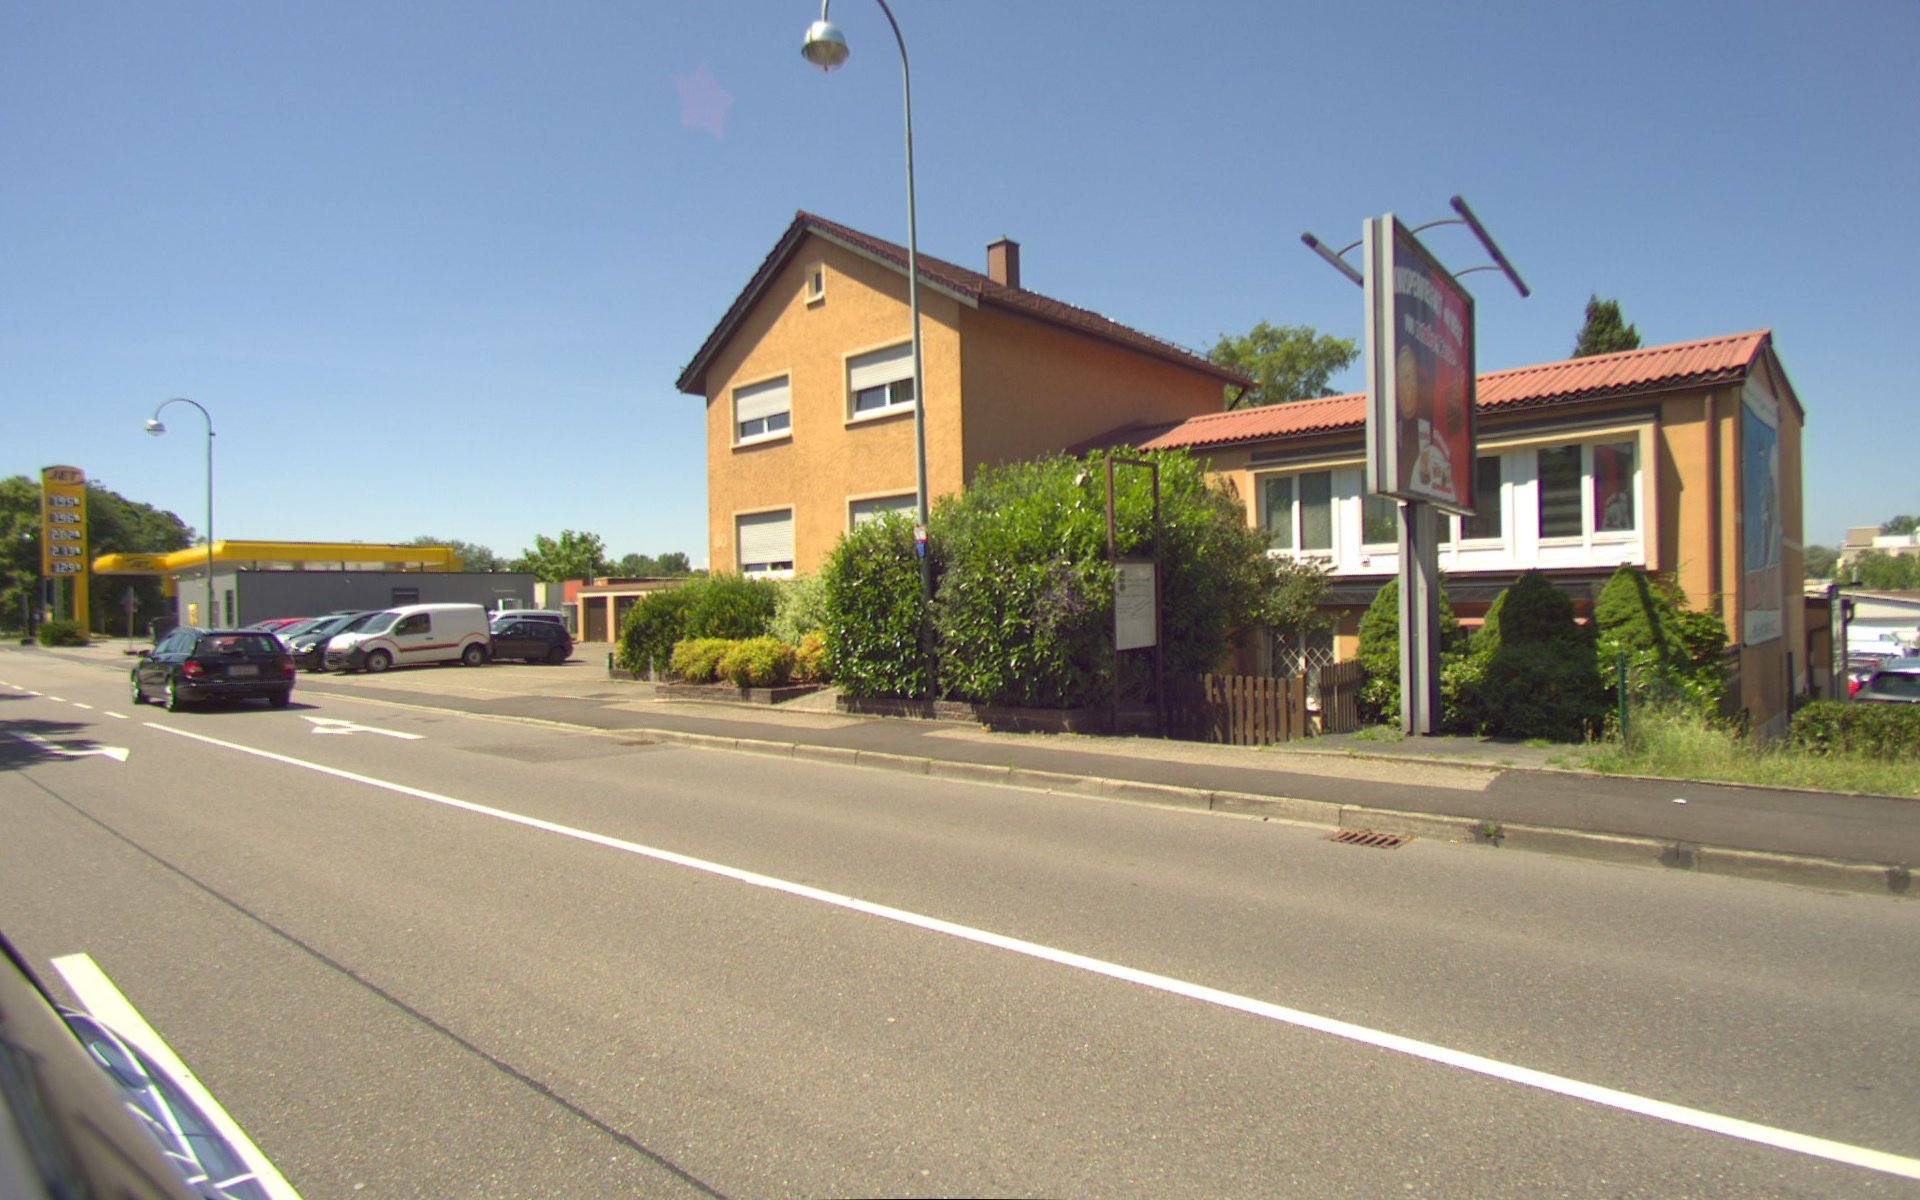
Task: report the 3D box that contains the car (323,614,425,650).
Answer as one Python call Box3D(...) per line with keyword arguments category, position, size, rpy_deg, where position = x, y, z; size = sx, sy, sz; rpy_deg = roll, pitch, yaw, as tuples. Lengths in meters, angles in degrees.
Box3D(category="car", position=(-28.290, 1.531, 48.940), size=(1.755, 1.596, 3.942), rpy_deg=(-1, 0, 44))

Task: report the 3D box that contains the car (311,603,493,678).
Box3D(category="car", position=(-15.615, 1.059, 28.499), size=(1.996, 1.912, 4.057), rpy_deg=(-1, 0, 36))

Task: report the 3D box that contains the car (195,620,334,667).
Box3D(category="car", position=(-24.334, 1.473, 35.498), size=(1.890, 1.468, 3.628), rpy_deg=(-1, 0, 39))

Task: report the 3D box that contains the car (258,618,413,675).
Box3D(category="car", position=(-19.125, 1.372, 31.088), size=(1.920, 1.543, 3.628), rpy_deg=(-1, 0, 39))

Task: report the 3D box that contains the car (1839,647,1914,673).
Box3D(category="car", position=(51.198, 3.344, 56.599), size=(3.043, 1.309, 1.288), rpy_deg=(-1, 0, 41))

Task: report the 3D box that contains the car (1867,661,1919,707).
Box3D(category="car", position=(40.517, 3.538, 42.294), size=(3.816, 1.740, 1.728), rpy_deg=(-1, 0, 42))

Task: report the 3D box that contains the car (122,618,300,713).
Box3D(category="car", position=(-13.711, 1.133, 18.428), size=(4.274, 1.506, 1.692), rpy_deg=(-2, -1, 41))

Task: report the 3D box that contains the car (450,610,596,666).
Box3D(category="car", position=(-14.248, 1.211, 33.151), size=(1.828, 1.580, 3.948), rpy_deg=(-3, -1, 39))

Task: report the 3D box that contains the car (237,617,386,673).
Box3D(category="car", position=(-20.731, 1.386, 32.451), size=(1.920, 1.593, 3.628), rpy_deg=(-1, 0, 39))

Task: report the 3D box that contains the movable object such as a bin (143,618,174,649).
Box3D(category="movable object such as a bin", position=(-42.529, 1.805, 53.701), size=(1.427, 1.528, 0.942), rpy_deg=(-3, 2, 42))

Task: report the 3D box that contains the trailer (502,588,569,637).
Box3D(category="trailer", position=(-29.219, 0.911, 69.496), size=(5.911, 3.244, 1.845), rpy_deg=(-2, -1, 42))

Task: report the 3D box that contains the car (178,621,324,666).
Box3D(category="car", position=(-25.964, 1.559, 37.147), size=(1.826, 1.455, 4.084), rpy_deg=(-1, 0, 40))

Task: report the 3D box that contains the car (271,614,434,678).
Box3D(category="car", position=(-17.583, 1.278, 29.407), size=(1.920, 1.685, 3.628), rpy_deg=(-1, 0, 39))

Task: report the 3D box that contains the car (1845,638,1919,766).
Box3D(category="car", position=(13.227, 1.281, 13.462), size=(3.979, 1.462, 1.782), rpy_deg=(0, -1, -43))

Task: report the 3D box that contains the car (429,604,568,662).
Box3D(category="car", position=(-15.758, 1.098, 34.658), size=(1.998, 1.875, 3.863), rpy_deg=(-1, -1, 39))

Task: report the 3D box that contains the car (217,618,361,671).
Box3D(category="car", position=(-22.396, 1.429, 33.873), size=(1.880, 1.617, 3.628), rpy_deg=(-1, 0, 39))

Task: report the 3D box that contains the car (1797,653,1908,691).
Box3D(category="car", position=(43.501, 3.490, 49.418), size=(3.998, 1.648, 1.824), rpy_deg=(-1, -1, 42))
